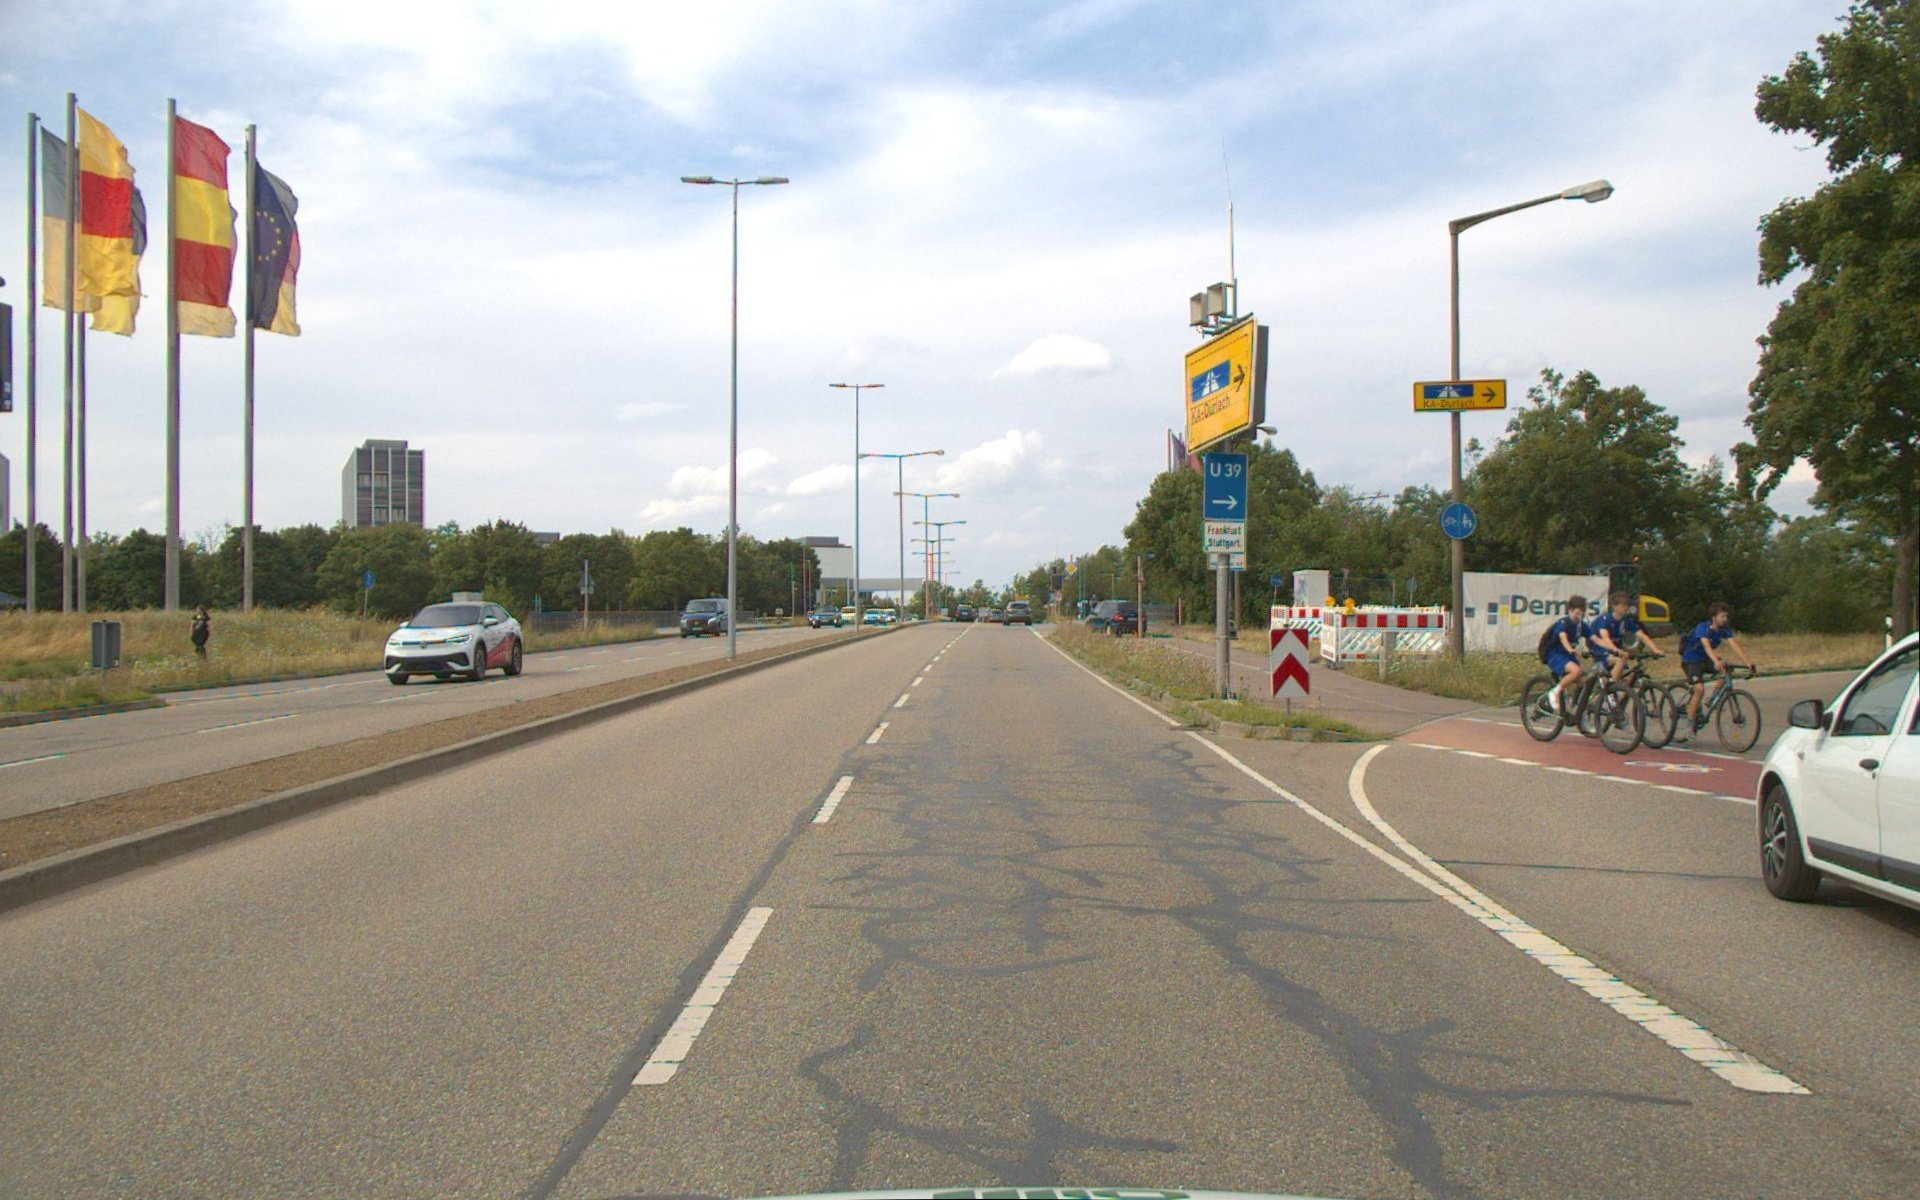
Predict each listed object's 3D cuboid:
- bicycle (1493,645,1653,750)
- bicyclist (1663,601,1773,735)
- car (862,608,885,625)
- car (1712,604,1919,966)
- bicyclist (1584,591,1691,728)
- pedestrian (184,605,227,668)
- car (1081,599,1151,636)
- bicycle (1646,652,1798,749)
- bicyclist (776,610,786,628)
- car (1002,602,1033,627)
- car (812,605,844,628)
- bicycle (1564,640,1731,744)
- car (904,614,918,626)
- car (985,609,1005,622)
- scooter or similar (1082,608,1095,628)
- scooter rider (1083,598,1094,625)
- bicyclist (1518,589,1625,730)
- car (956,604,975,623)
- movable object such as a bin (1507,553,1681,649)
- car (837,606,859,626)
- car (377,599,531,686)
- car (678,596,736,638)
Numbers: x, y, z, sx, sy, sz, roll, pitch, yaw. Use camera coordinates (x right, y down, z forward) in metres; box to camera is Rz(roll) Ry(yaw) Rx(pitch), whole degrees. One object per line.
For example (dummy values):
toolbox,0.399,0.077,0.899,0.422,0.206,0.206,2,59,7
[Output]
bicycle,6.869,1.069,18.645,0.609,1.023,2.096,3,0,-13
bicyclist,8.820,0.778,19.273,0.728,1.513,0.954,1,-1,-15
car,-8.203,1.579,156.852,1.615,1.542,4.018,-2,0,4
car,5.079,0.824,7.642,1.808,1.528,4.003,2,-1,8
bicyclist,7.839,0.679,19.171,0.728,1.545,0.954,1,-1,-15
pedestrian,-21.082,1.005,46.204,0.848,1.722,0.679,-2,0,-1
car,7.299,0.846,77.862,1.705,1.682,4.090,1,-2,-20
bicycle,8.864,1.145,19.316,0.609,1.023,1.781,-2,-1,-13
bicyclist,-16.455,1.788,152.264,0.779,1.655,0.976,1,-1,-2
car,3.975,1.007,114.780,1.696,1.682,4.111,0,-2,-4
car,-9.097,1.145,114.042,1.727,1.466,4.177,-2,0,1
bicycle,7.862,1.031,19.033,0.585,1.055,2.188,3,-1,-13
car,-6.891,2.815,234.351,1.702,1.506,4.776,-2,-2,1
car,4.082,1.842,193.891,1.698,1.553,4.107,1,-1,-8
scooter or similar,8.180,1.131,105.375,0.576,1.246,1.201,1,-1,-7
scooter rider,8.194,0.756,105.379,0.576,1.720,0.742,1,-1,-7
bicyclist,6.879,0.659,18.649,0.728,1.545,0.955,1,-1,-14
car,0.542,1.297,158.455,1.695,1.682,4.115,0,-2,2
movable object such as a bin,18.710,0.053,48.988,4.406,2.736,2.103,1,-1,5
car,-9.572,1.374,141.299,1.517,1.605,3.691,-2,0,1
car,-10.573,0.837,34.910,1.809,1.629,4.561,-1,1,0
car,-12.699,0.845,83.250,1.809,1.927,5.506,-3,0,2
